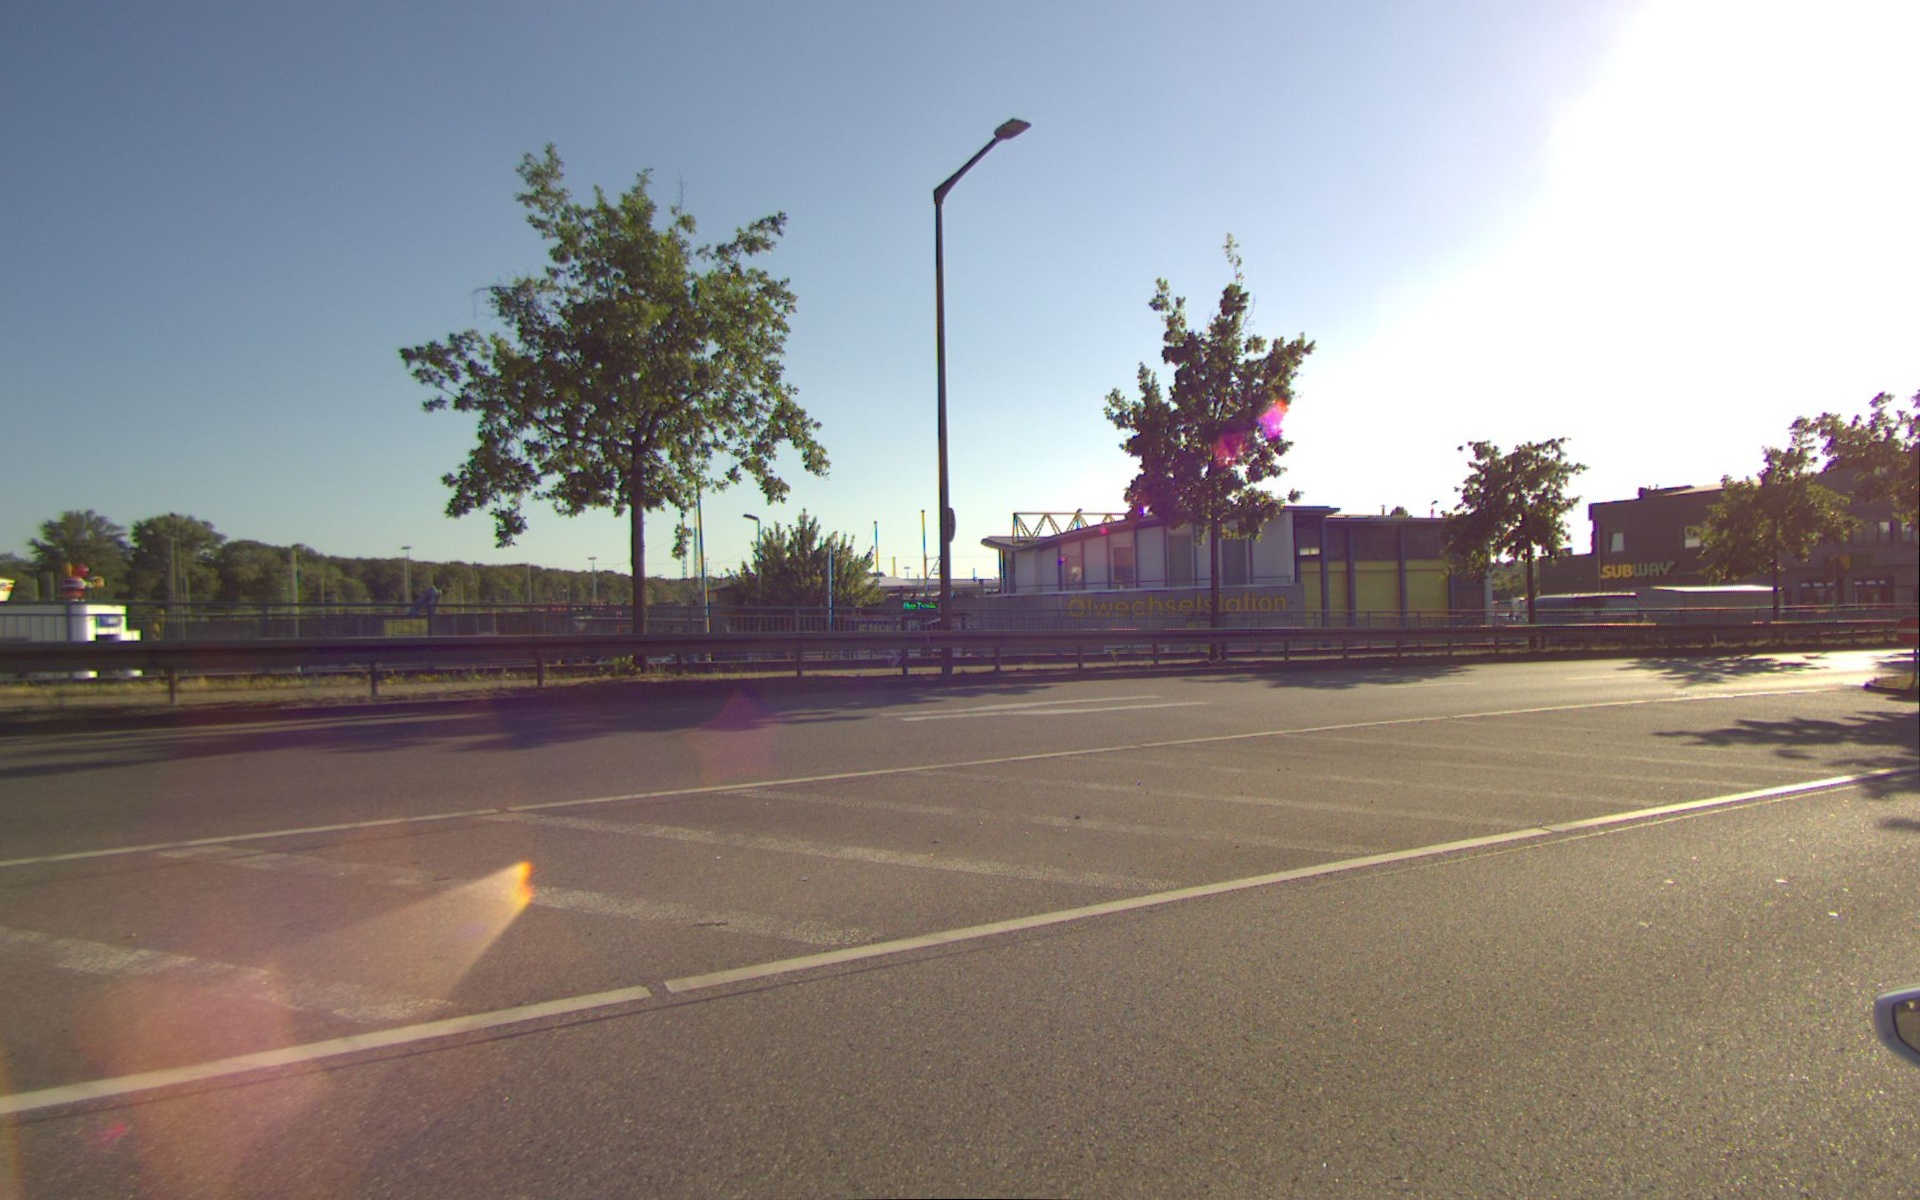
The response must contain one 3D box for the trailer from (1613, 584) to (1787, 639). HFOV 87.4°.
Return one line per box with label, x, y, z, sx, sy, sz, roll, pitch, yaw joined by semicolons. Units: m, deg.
trailer;28.533;0.411;38.697;6.510;1.996;2.414;0;0;-23
